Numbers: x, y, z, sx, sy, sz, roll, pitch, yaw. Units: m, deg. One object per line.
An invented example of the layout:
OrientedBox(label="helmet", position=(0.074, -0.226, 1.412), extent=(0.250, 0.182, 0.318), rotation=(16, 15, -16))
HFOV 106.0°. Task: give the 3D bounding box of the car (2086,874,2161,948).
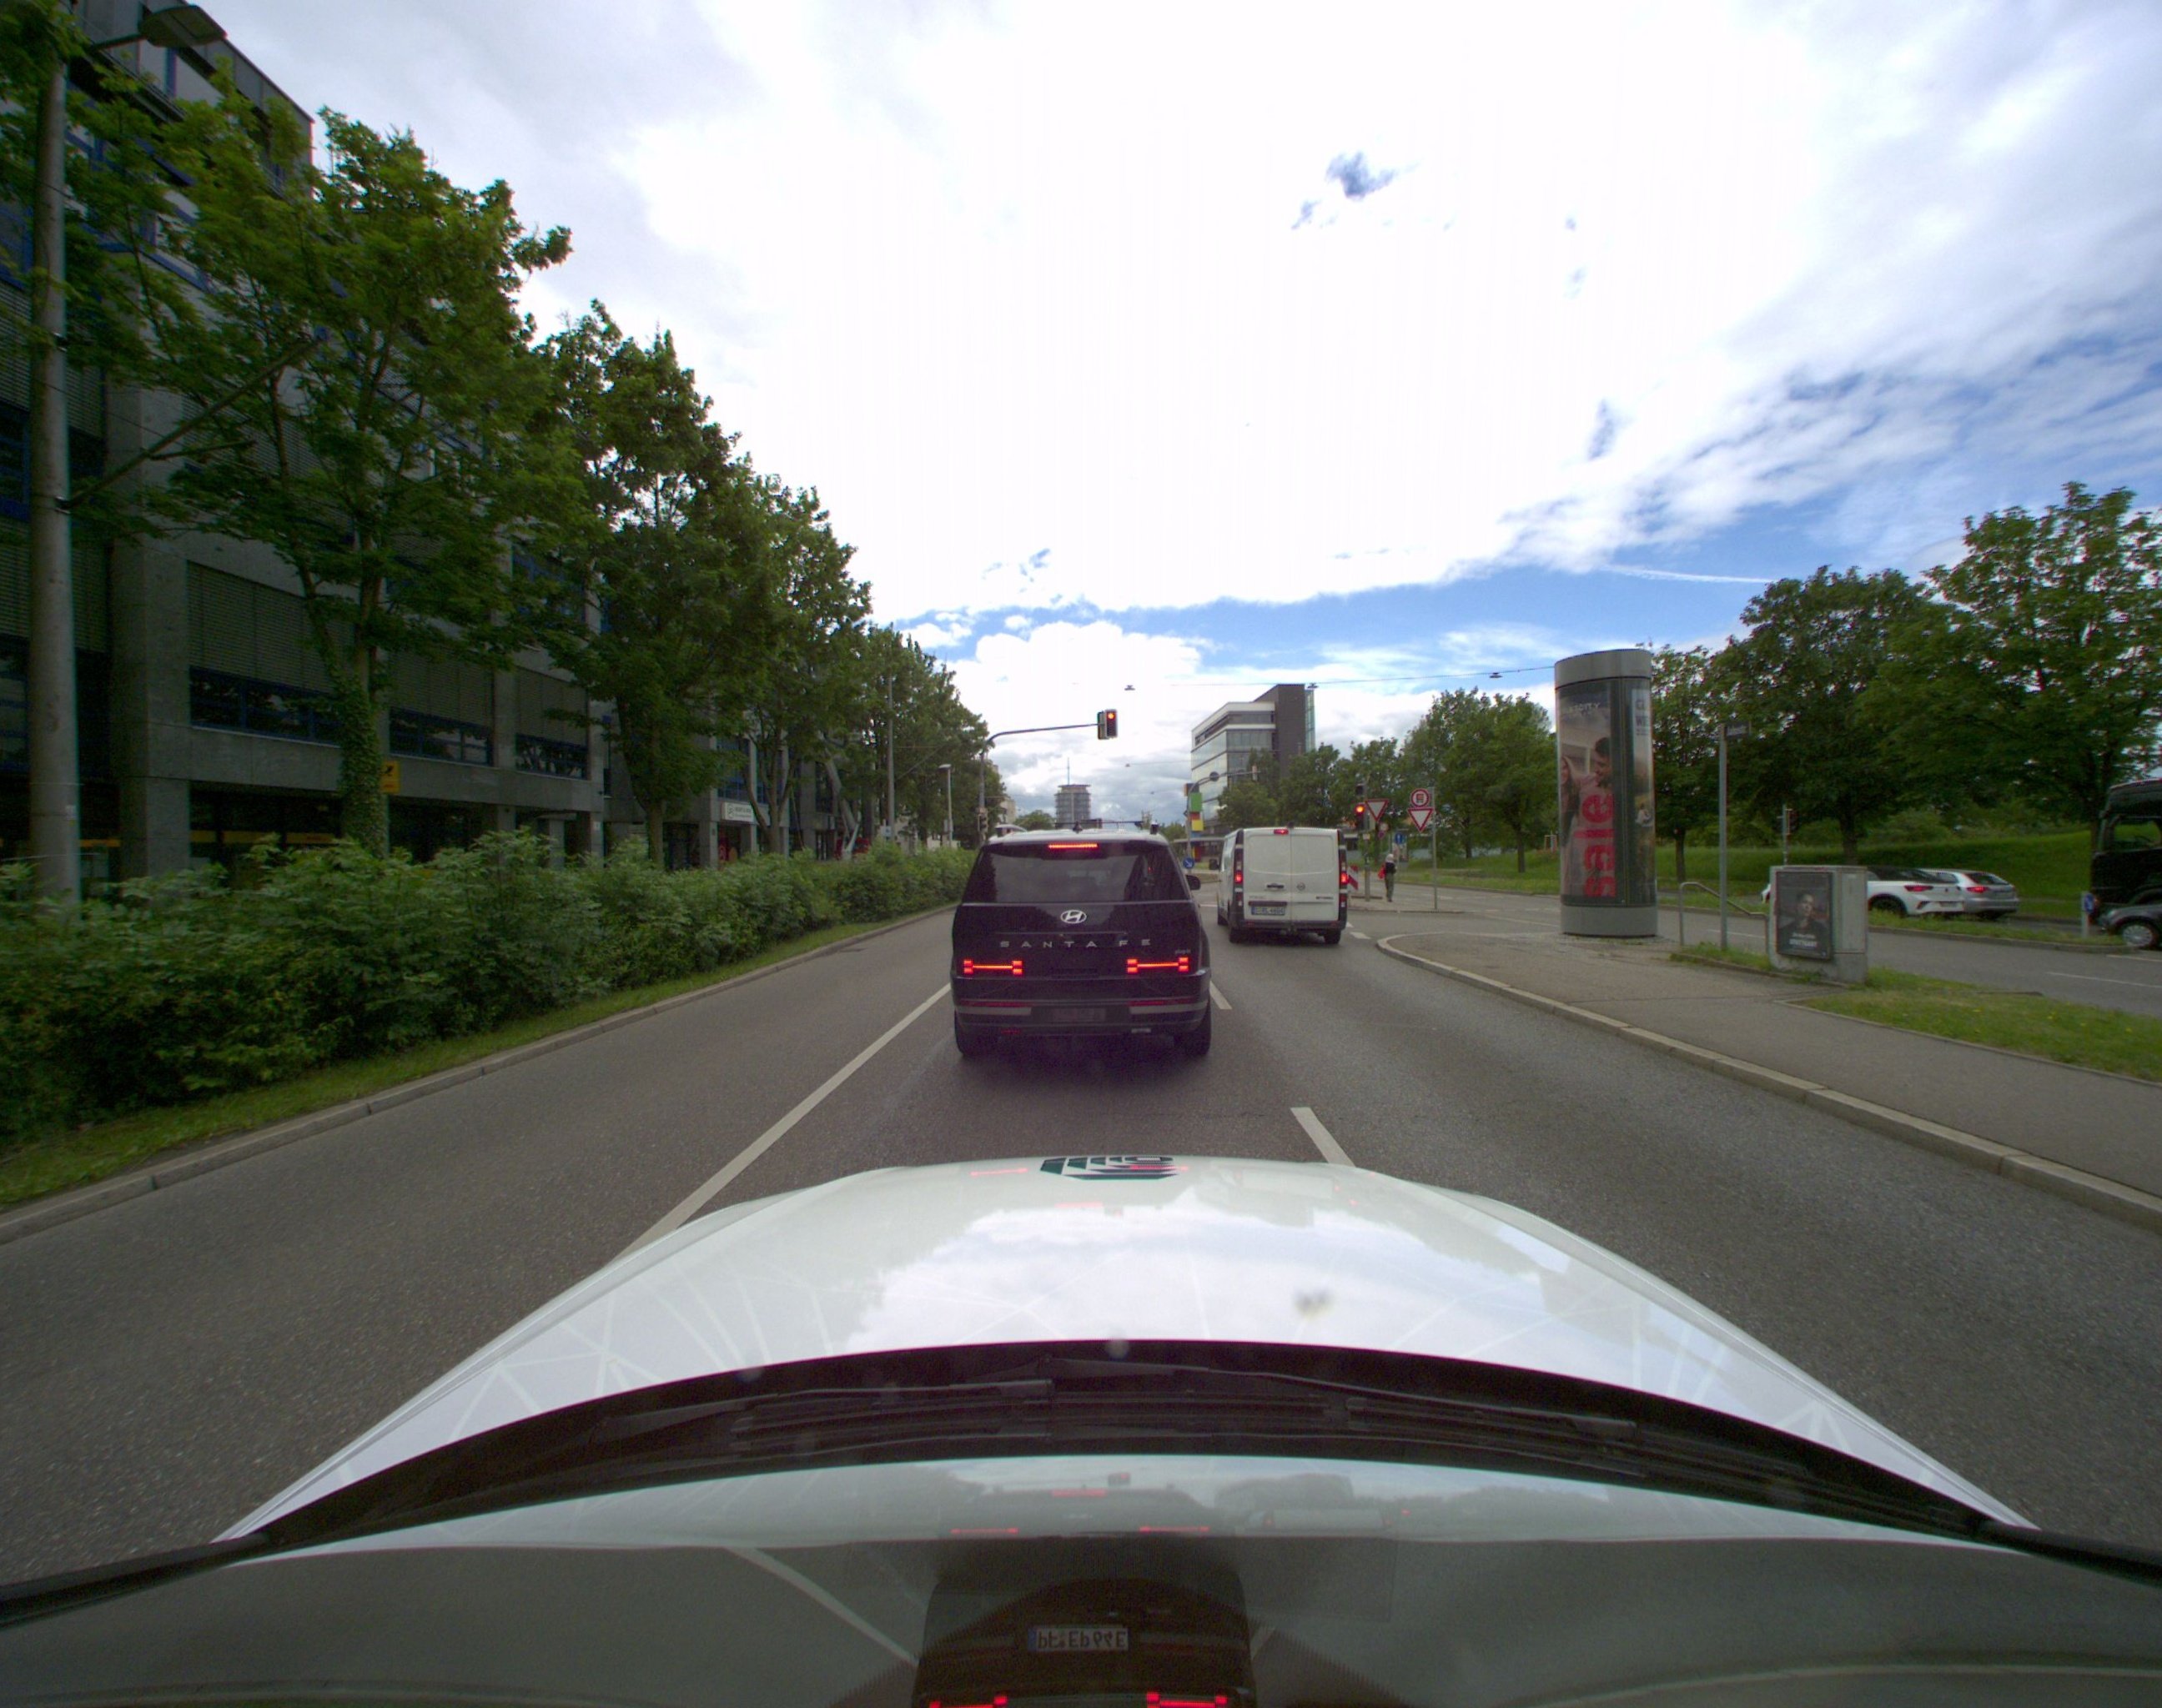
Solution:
OrientedBox(label="car", position=(23.010, 1.198, 15.796), extent=(1.994, 1.453, 3.985), rotation=(1, 0, -11))

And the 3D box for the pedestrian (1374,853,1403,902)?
OrientedBox(label="pedestrian", position=(10.069, 0.751, 26.657), extent=(0.744, 1.584, 0.567), rotation=(1, 0, -38))

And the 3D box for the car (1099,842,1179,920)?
OrientedBox(label="car", position=(1.540, 0.627, 20.472), extent=(1.767, 1.717, 4.346), rotation=(-1, -1, 6))

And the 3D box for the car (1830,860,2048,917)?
OrientedBox(label="car", position=(25.105, 0.966, 24.045), extent=(1.994, 1.453, 3.985), rotation=(1, 0, -11))

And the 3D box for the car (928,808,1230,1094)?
OrientedBox(label="car", position=(0.048, 0.611, 7.072), extent=(1.862, 1.760, 3.881), rotation=(-1, 0, 2))

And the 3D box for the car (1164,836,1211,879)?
OrientedBox(label="car", position=(5.236, 0.206, 40.599), extent=(1.985, 2.014, 4.003), rotation=(-1, -1, 3))

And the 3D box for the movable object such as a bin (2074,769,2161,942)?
OrientedBox(label="movable object such as a bin", position=(26.265, -0.010, 15.775), extent=(2.860, 3.903, 8.536), rotation=(-1, -1, -11))

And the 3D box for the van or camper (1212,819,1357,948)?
OrientedBox(label="van or camper", position=(3.573, 0.471, 15.158), extent=(1.983, 2.013, 4.661), rotation=(-1, 0, 6))

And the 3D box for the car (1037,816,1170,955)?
OrientedBox(label="car", position=(0.395, 0.459, 13.938), extent=(1.908, 2.003, 3.881), rotation=(-1, 0, 2))

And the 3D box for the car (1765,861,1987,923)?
OrientedBox(label="car", position=(21.771, 0.986, 22.547), extent=(1.994, 1.453, 3.985), rotation=(1, 0, -11))

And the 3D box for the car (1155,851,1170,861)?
OrientedBox(label="car", position=(13.182, 0.327, 131.984), extent=(1.987, 1.684, 3.998), rotation=(-1, -1, -1))
